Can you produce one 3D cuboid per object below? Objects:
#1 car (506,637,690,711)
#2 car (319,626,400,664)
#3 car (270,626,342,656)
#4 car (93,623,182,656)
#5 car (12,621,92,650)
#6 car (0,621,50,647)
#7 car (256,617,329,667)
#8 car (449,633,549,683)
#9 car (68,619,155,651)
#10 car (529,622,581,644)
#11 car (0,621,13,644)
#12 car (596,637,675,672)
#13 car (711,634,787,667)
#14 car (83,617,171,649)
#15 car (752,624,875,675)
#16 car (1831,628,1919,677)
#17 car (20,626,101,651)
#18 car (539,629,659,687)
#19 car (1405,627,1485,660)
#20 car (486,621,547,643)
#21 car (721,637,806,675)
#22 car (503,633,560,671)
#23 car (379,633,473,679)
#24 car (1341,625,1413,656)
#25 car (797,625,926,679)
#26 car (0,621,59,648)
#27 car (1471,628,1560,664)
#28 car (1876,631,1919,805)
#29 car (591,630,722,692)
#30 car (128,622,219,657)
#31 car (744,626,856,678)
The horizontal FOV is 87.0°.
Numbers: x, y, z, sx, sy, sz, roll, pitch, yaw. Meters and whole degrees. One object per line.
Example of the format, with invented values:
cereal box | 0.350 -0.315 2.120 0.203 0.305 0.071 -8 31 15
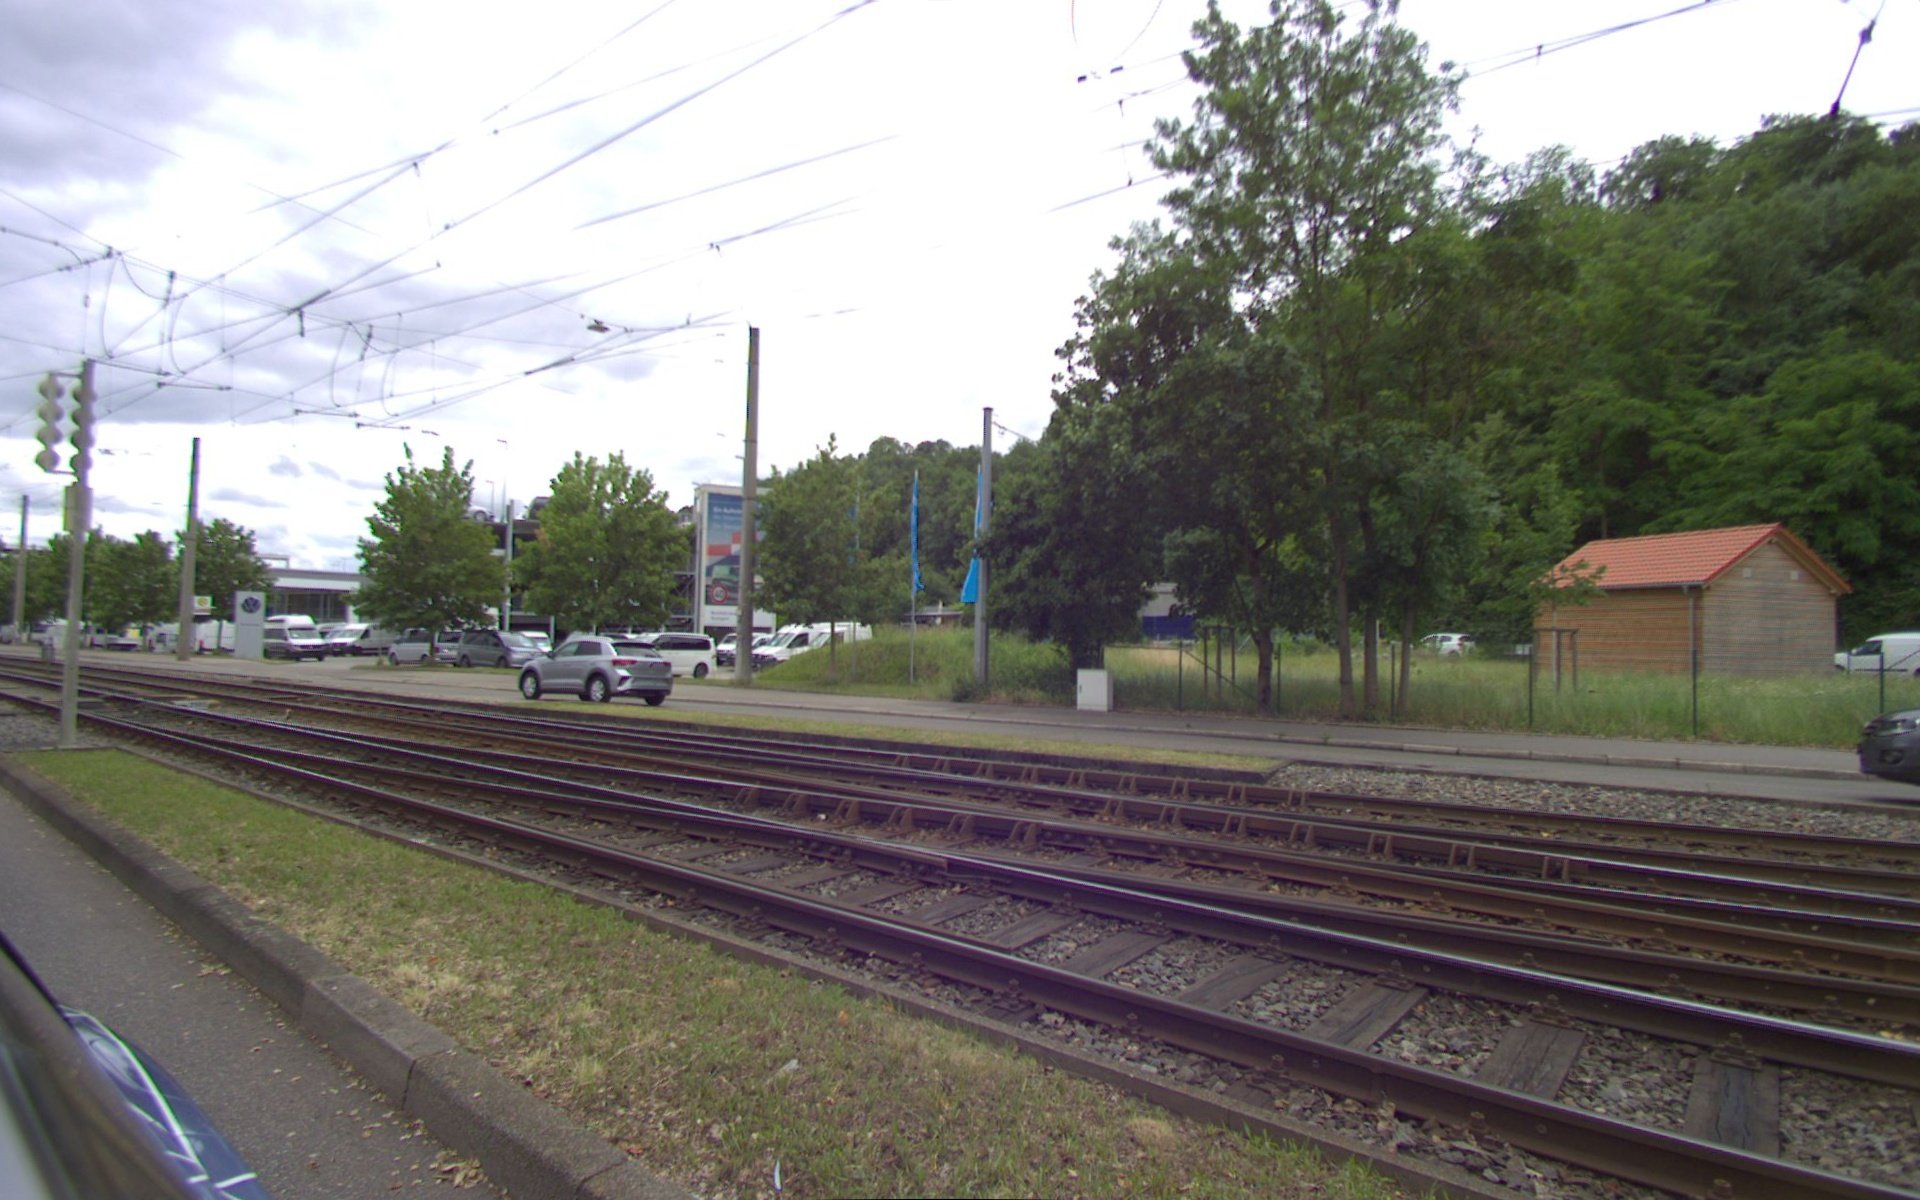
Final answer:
car | -8.581 1.694 23.913 4.165 1.590 1.977 -1 -3 33
car | -46.471 3.440 78.525 2.293 2.642 6.036 -1 0 6
car | -53.657 3.325 83.128 2.107 2.225 4.579 -1 0 39
car | -59.497 2.824 73.296 2.102 2.225 4.589 -1 0 32
car | -75.554 2.952 84.265 2.102 2.225 4.589 -1 0 32
car | -85.619 3.083 91.521 2.102 2.225 4.589 -1 0 32
car | -43.175 2.666 65.417 6.154 3.034 2.291 -1 0 40
car | -21.790 2.702 47.781 4.763 2.132 2.118 -1 0 34
car | -63.856 2.627 76.228 2.102 2.225 4.589 -1 0 32
car | -36.863 2.965 92.173 4.164 1.850 1.986 -1 0 -29
car | -94.074 3.193 96.861 2.102 2.225 4.589 -1 0 32
car | -19.422 3.213 60.620 4.165 1.850 1.986 -1 0 -31
car | -12.977 3.070 62.221 4.165 1.850 1.986 -1 0 -31
car | -61.478 2.398 74.744 2.102 2.225 4.589 -1 0 32
car | -7.385 2.455 51.060 5.751 2.284 2.060 -1 0 -28
car | 34.188 1.870 36.532 1.877 1.625 3.693 -1 0 -22
car | -73.587 3.112 82.863 2.102 1.854 4.589 -1 0 32
car | -15.993 2.515 45.054 1.977 2.284 4.717 -1 0 37
car | 26.490 2.324 55.389 1.727 1.625 3.693 -1 0 -25
car | -41.807 2.980 95.385 5.138 1.850 1.986 -1 0 -29
car | -10.913 3.067 56.259 4.165 1.850 1.986 -1 0 -31
car | -24.510 2.935 57.816 1.872 1.907 4.606 -1 0 -38
car | -27.045 2.775 51.208 4.761 2.132 2.119 -1 0 32
car | 24.478 2.350 59.461 1.727 1.625 3.693 -1 0 -25
car | -4.694 2.420 48.368 5.762 2.284 2.060 -1 0 -28
car | -83.596 3.056 90.146 2.102 2.225 4.589 -1 0 32
car | 28.185 2.303 51.435 1.727 1.625 3.693 -1 0 -22
car | 11.471 1.163 9.528 4.137 1.731 1.879 -3 -6 43
car | -12.837 2.529 43.109 1.997 2.284 5.206 -1 0 37
car | -54.951 2.716 70.809 2.102 2.225 4.589 -1 0 32
car | -8.555 2.722 54.346 5.568 2.479 1.986 -1 0 -31
